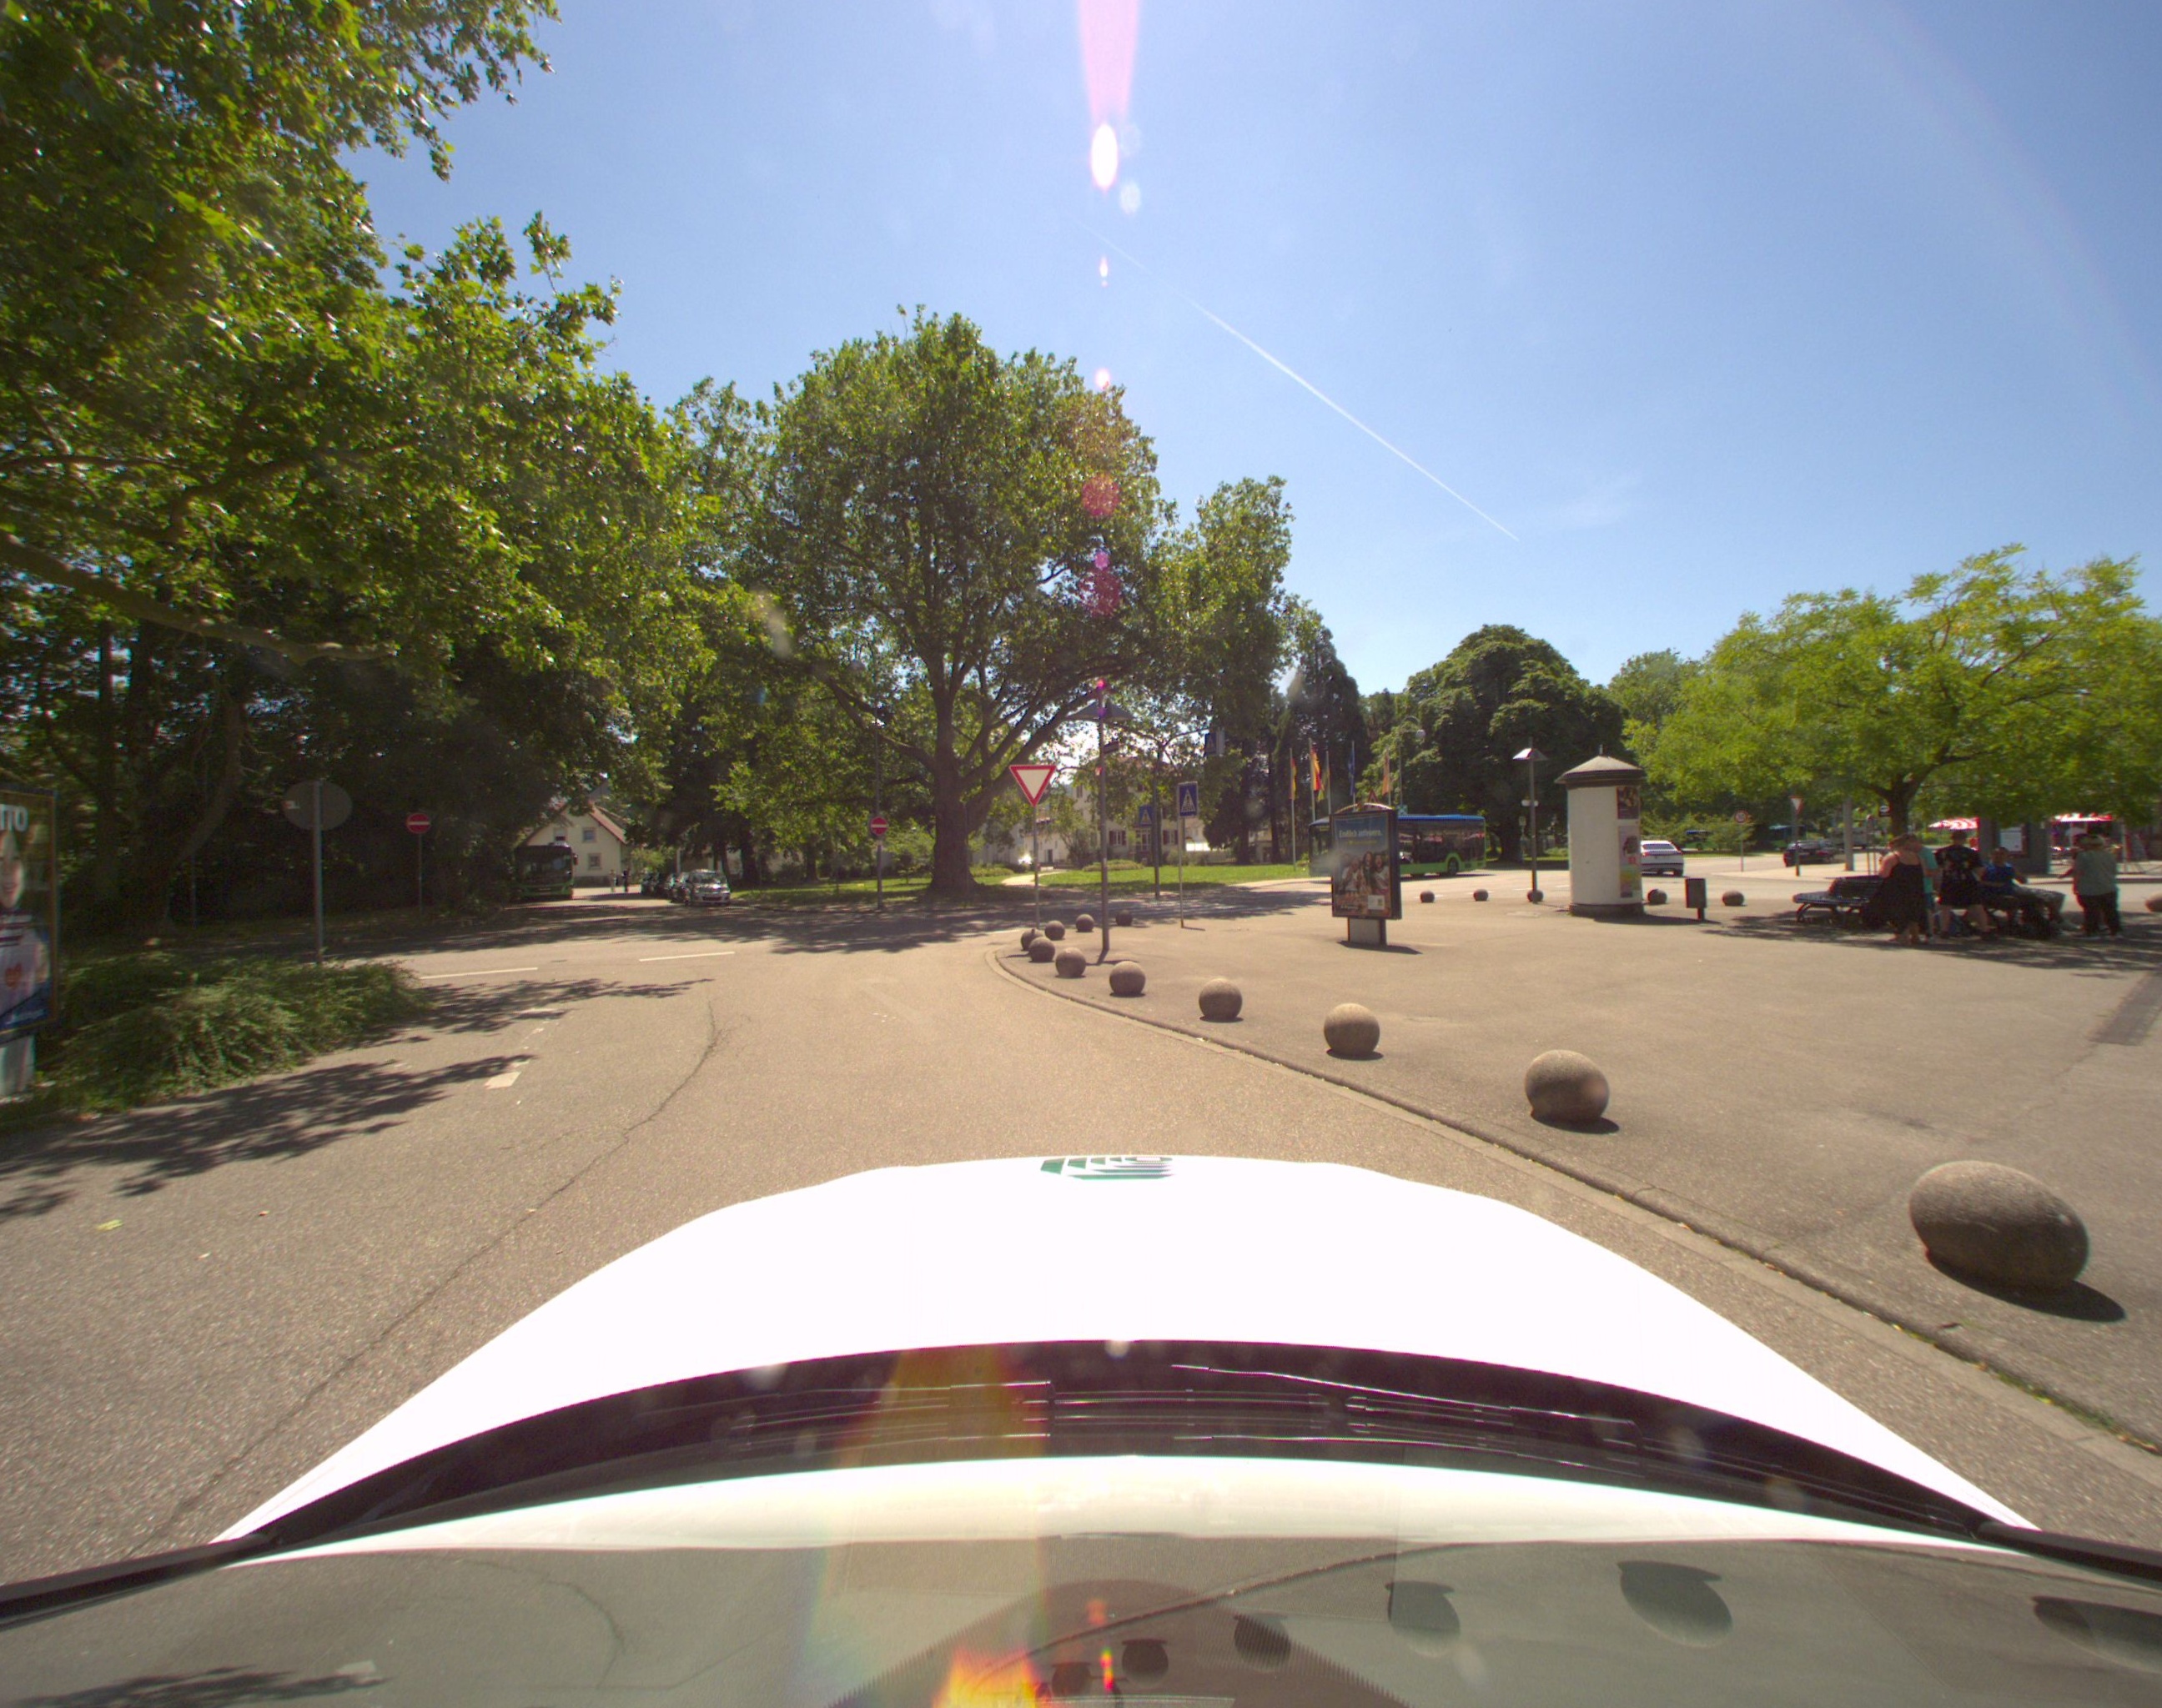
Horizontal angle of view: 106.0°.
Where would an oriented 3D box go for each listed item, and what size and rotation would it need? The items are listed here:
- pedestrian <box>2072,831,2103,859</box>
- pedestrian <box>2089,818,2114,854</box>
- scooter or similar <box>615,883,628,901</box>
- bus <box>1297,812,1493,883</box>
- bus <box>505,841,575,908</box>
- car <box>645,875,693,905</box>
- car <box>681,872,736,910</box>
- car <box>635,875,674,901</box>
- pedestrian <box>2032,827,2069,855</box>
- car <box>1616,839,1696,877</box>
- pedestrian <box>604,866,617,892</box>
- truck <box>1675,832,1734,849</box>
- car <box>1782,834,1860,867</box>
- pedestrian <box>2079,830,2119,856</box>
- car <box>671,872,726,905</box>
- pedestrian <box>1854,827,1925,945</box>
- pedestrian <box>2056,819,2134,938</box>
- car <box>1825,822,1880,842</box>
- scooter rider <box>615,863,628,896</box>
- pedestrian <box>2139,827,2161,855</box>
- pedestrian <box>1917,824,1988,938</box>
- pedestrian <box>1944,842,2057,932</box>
[{"bbox_3d":[43.234,-0.392,34.988,0.897,1.161,0.682,-2,0,-29],"label":"pedestrian"},{"bbox_3d":[49.330,-0.867,39.370,0.710,1.737,0.681,-1,0,-33],"label":"pedestrian"},{"bbox_3d":[-32.643,2.682,57.885,0.743,1.183,1.504,-2,0,-31],"label":"scooter or similar"},{"bbox_3d":[16.596,-0.441,42.360,12.474,3.283,2.788,-2,0,-34],"label":"bus"},{"bbox_3d":[-31.943,1.165,48.322,2.888,3.295,15.785,-2,0,-33],"label":"bus"},{"bbox_3d":[-22.299,1.911,43.985,1.763,1.439,4.720,-2,0,-33],"label":"car"},{"bbox_3d":[-15.573,1.502,33.955,1.606,1.497,3.449,0,-1,-33],"label":"car"},{"bbox_3d":[-26.944,2.133,51.400,1.767,1.493,3.877,-2,0,-33],"label":"car"},{"bbox_3d":[45.865,-0.620,38.543,0.884,1.312,0.692,-2,0,22],"label":"pedestrian"},{"bbox_3d":[26.885,0.155,38.266,1.965,1.627,4.804,-2,0,21],"label":"car"},{"bbox_3d":[-34.540,1.826,59.817,0.724,1.802,0.932,-2,0,-27],"label":"pedestrian"},{"bbox_3d":[91.656,-1.903,120.010,2.262,2.349,11.406,-2,0,12],"label":"truck"},{"bbox_3d":[38.658,-0.200,42.512,4.744,1.460,1.912,-2,-3,-34],"label":"car"},{"bbox_3d":[46.569,-0.513,37.265,0.884,1.161,0.692,-2,0,22],"label":"pedestrian"},{"bbox_3d":[-18.189,1.602,38.621,1.762,1.439,4.456,0,-1,-33],"label":"car"},{"bbox_3d":[12.337,0.478,12.446,0.619,1.740,0.551,-2,0,31],"label":"pedestrian"},{"bbox_3d":[15.253,0.360,12.264,0.505,1.740,0.574,-2,0,27],"label":"pedestrian"},{"bbox_3d":[89.479,-2.526,94.542,2.190,2.173,4.893,-2,0,8],"label":"car"},{"bbox_3d":[-32.675,1.783,57.899,0.743,2.317,0.917,-2,0,-32],"label":"scooter rider"},{"bbox_3d":[47.171,-0.569,35.794,0.740,1.205,0.753,-1,1,-33],"label":"pedestrian"},{"bbox_3d":[13.743,0.412,12.859,0.577,1.740,0.604,-2,0,31],"label":"pedestrian"},{"bbox_3d":[14.861,0.511,13.202,0.901,1.386,0.950,-2,0,27],"label":"pedestrian"}]
